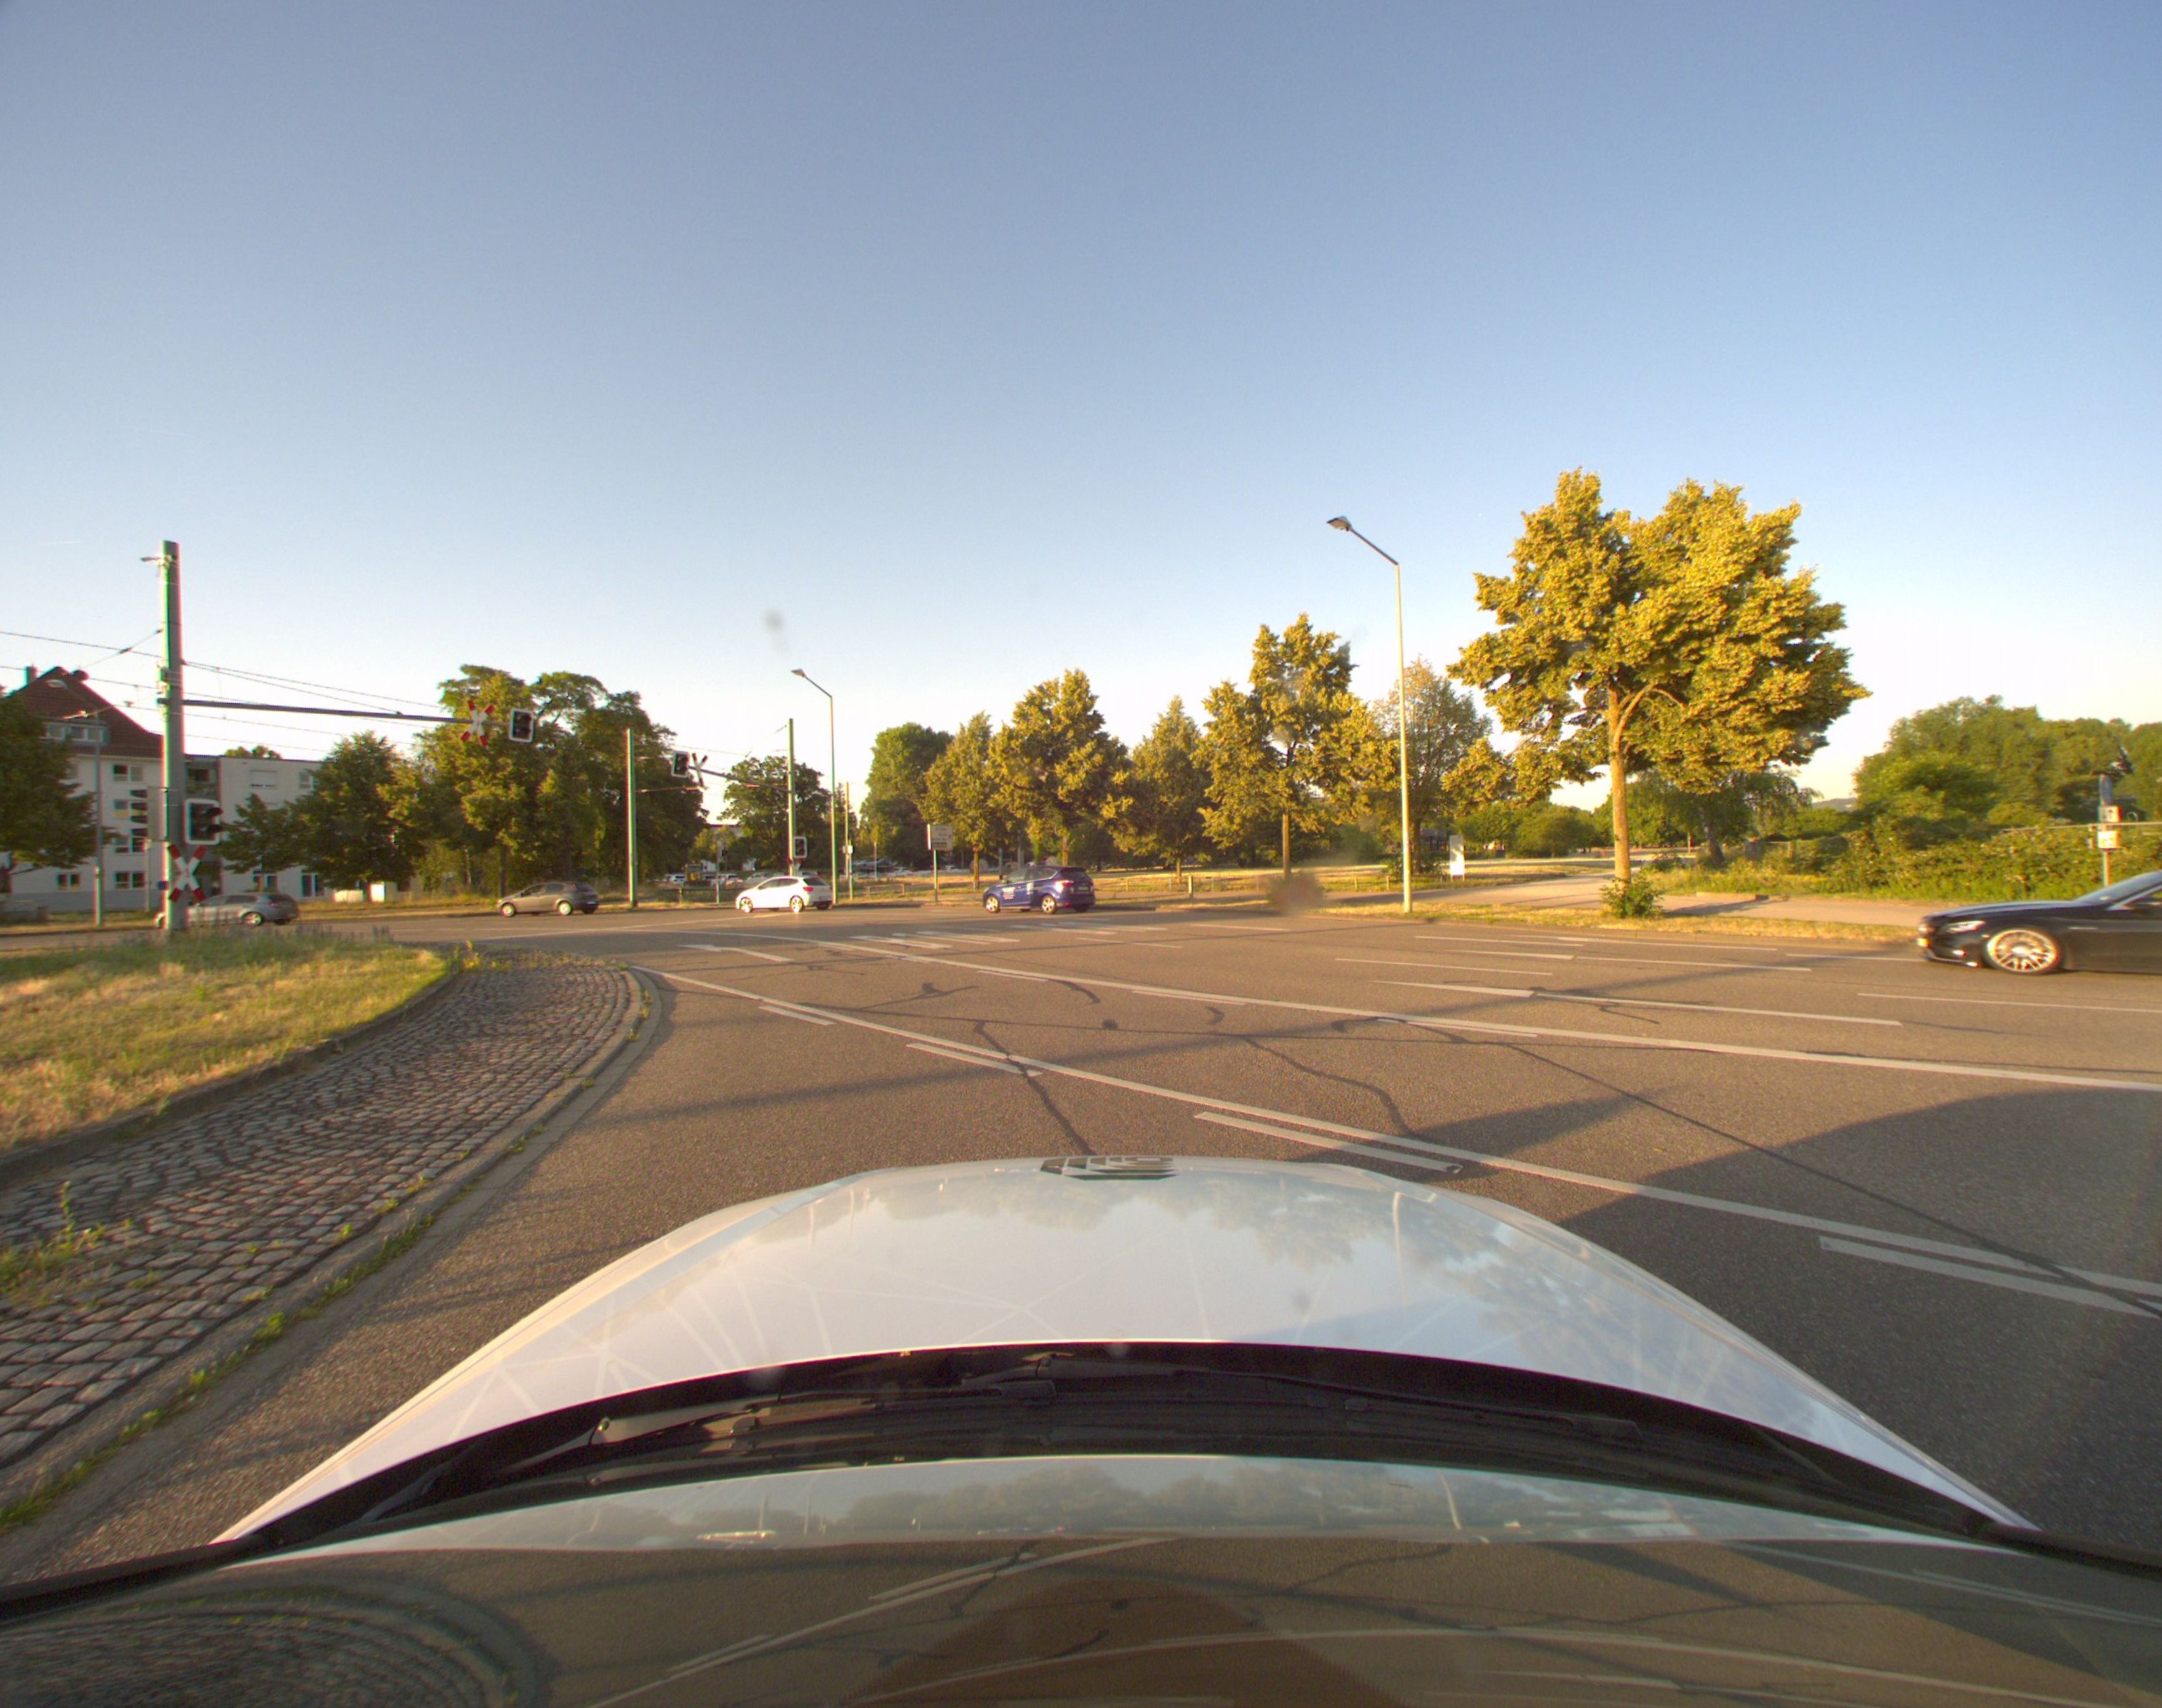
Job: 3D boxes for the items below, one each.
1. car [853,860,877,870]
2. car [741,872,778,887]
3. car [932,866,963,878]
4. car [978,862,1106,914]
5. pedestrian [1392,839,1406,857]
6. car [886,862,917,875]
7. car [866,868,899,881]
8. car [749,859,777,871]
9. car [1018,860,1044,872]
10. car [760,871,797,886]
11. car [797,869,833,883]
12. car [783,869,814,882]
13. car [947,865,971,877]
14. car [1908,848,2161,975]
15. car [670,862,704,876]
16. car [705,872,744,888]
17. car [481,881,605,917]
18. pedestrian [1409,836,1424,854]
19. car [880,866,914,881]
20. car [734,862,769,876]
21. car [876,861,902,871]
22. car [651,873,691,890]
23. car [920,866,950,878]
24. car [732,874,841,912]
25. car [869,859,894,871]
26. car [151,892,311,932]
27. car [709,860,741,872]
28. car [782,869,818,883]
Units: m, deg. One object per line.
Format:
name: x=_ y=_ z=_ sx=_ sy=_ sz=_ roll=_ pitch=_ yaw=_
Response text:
car: x=-40.526 y=2.114 z=152.993 sx=1.974 sy=1.816 sz=4.026 roll=-2 pitch=0 yaw=37
car: x=-36.305 y=2.843 z=91.988 sx=3.948 sy=1.604 sz=2.013 roll=-2 pitch=0 yaw=35
car: x=-19.058 y=2.545 z=116.276 sx=3.948 sy=1.604 sz=2.013 roll=-2 pitch=0 yaw=35
car: x=-1.373 y=1.094 z=27.641 sx=4.127 sy=1.583 sz=1.928 roll=-1 pitch=0 yaw=42
pedestrian: x=30.624 y=-0.574 z=78.432 sx=1.064 sy=1.617 sz=0.912 roll=-2 pitch=0 yaw=5
car: x=-27.895 y=2.243 z=126.629 sx=4.578 sy=2.014 sz=1.996 roll=-2 pitch=0 yaw=-7
car: x=-25.817 y=2.641 z=105.834 sx=3.948 sy=1.604 sz=2.013 roll=-2 pitch=0 yaw=35
car: x=-56.675 y=2.019 z=145.031 sx=1.974 sy=2.013 sz=4.142 roll=-2 pitch=0 yaw=36
car: x=-7.032 y=1.695 z=114.964 sx=1.747 sy=1.618 sz=3.954 roll=-1 pitch=0 yaw=-38
car: x=-34.748 y=2.847 z=93.586 sx=3.948 sy=1.604 sz=2.013 roll=-2 pitch=0 yaw=35
car: x=-31.845 y=2.603 z=97.503 sx=3.948 sy=1.604 sz=2.013 roll=-2 pitch=0 yaw=35
car: x=-40.243 y=3.051 z=116.003 sx=4.000 sy=1.662 sz=1.890 roll=-2 pitch=0 yaw=-20
car: x=-19.389 y=2.721 z=129.184 sx=2.008 sy=1.752 sz=4.549 roll=-1 pitch=1 yaw=-34
car: x=13.764 y=0.696 z=10.203 sx=4.561 sy=1.505 sz=2.012 roll=-1 pitch=-2 yaw=40
car: x=-64.590 y=2.430 z=133.481 sx=1.974 sy=2.013 sz=4.627 roll=-2 pitch=0 yaw=32
car: x=-38.309 y=2.814 z=87.484 sx=3.948 sy=1.604 sz=2.013 roll=-2 pitch=0 yaw=35
car: x=-23.283 y=1.935 z=35.337 sx=4.129 sy=1.454 sz=1.870 roll=0 pitch=-2 yaw=4
pedestrian: x=31.929 y=-0.859 z=77.610 sx=1.064 sy=1.617 sz=0.912 roll=-2 pitch=0 yaw=5
car: x=-26.700 y=2.860 z=118.368 sx=4.578 sy=2.014 sz=1.996 roll=-2 pitch=0 yaw=-7
car: x=-50.870 y=2.309 z=125.851 sx=1.974 sy=2.013 sz=4.627 roll=-2 pitch=0 yaw=32
car: x=-34.513 y=2.106 z=146.360 sx=3.963 sy=1.706 sz=2.005 roll=-2 pitch=0 yaw=9
car: x=-41.972 y=2.799 z=83.295 sx=3.948 sy=1.604 sz=2.013 roll=-2 pitch=0 yaw=35
car: x=-20.546 y=2.486 z=114.594 sx=3.948 sy=1.604 sz=2.013 roll=-2 pitch=0 yaw=35
car: x=-11.992 y=1.587 z=33.182 sx=3.923 sy=1.454 sz=1.878 roll=-2 pitch=0 yaw=22
car: x=-36.761 y=2.000 z=149.984 sx=1.975 sy=2.013 sz=4.024 roll=-2 pitch=0 yaw=43
car: x=-34.951 y=2.353 z=33.629 sx=4.159 sy=1.390 sz=1.857 roll=-1 pitch=0 yaw=-17
car: x=-60.806 y=2.063 z=139.191 sx=1.974 sy=2.013 sz=4.628 roll=-2 pitch=0 yaw=36
car: x=-32.926 y=2.590 z=95.331 sx=3.948 sy=1.604 sz=2.013 roll=-2 pitch=0 yaw=35
